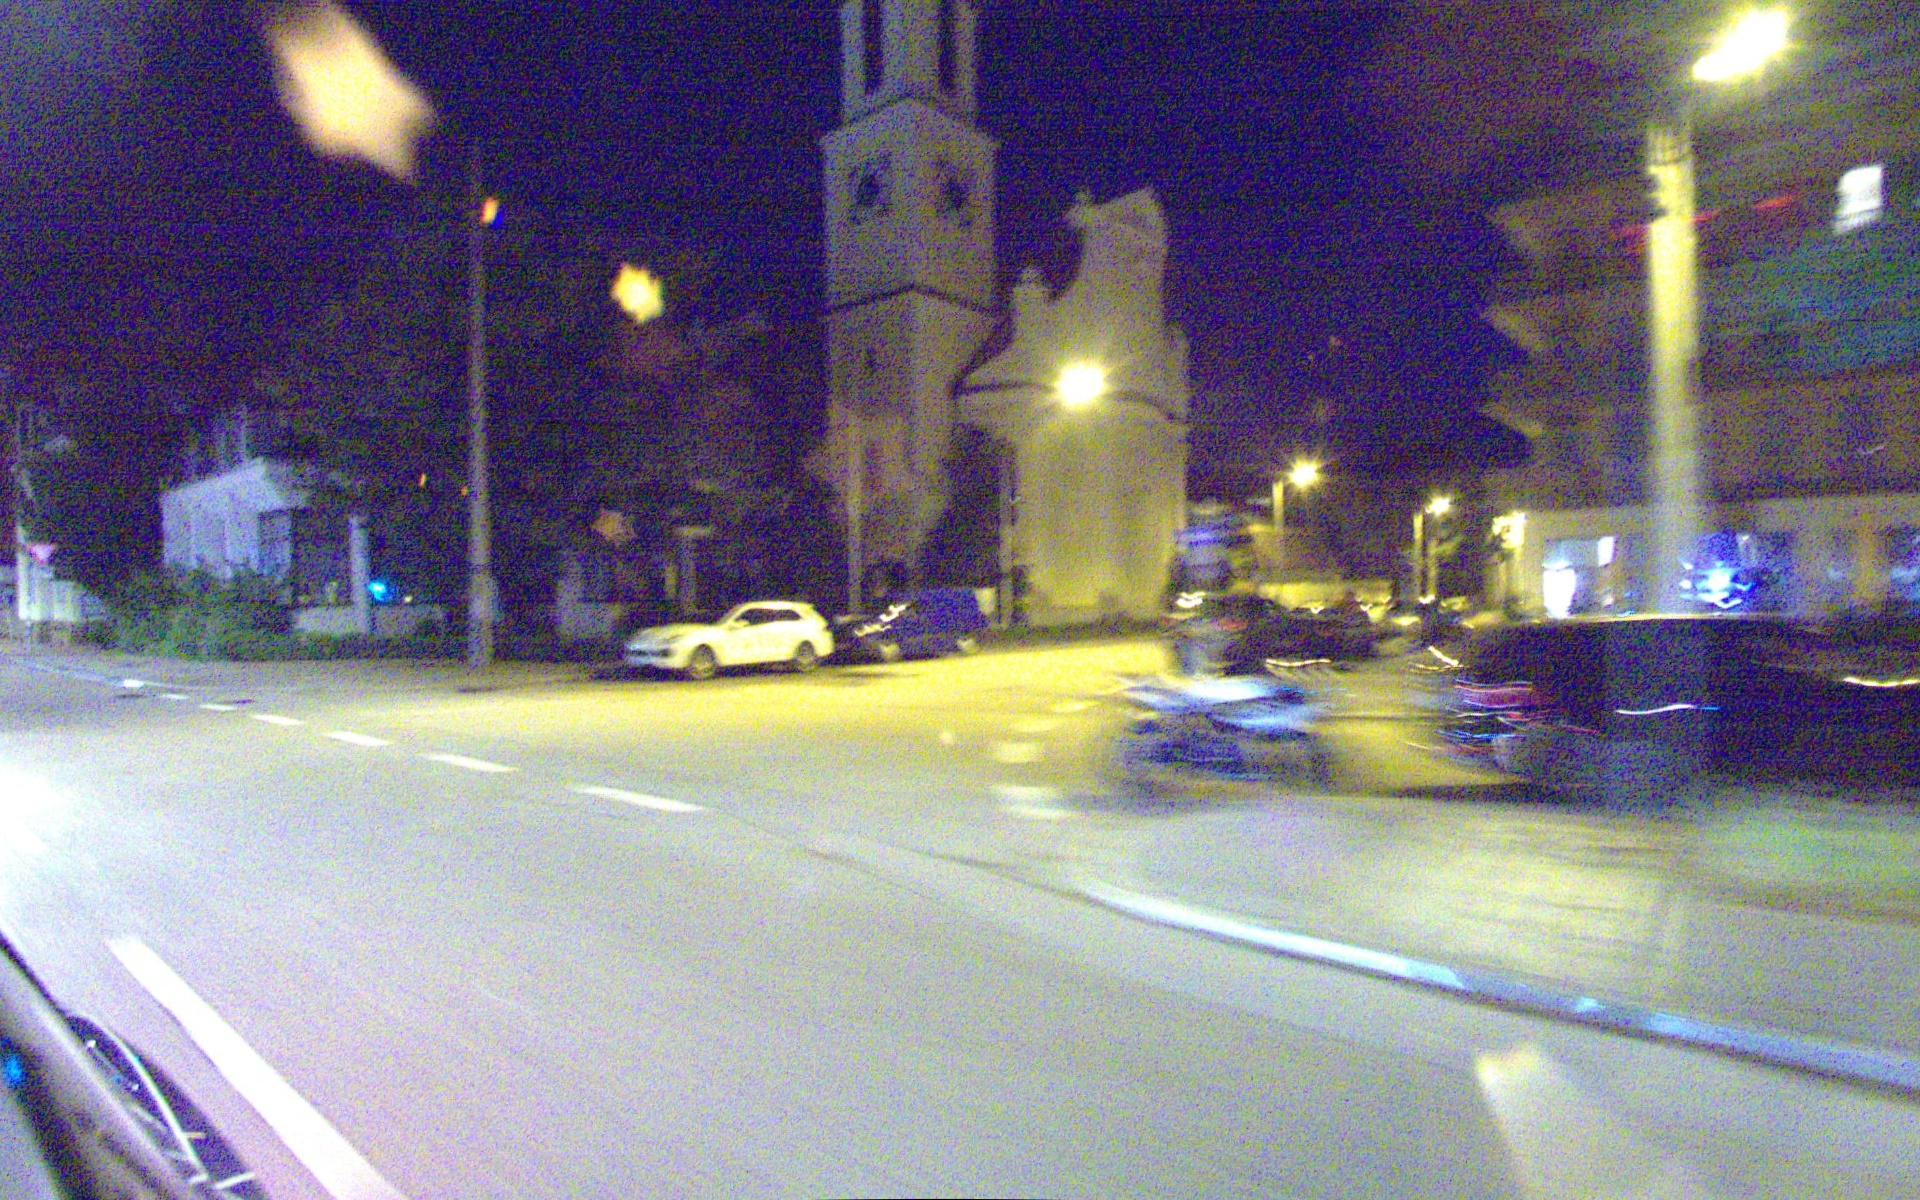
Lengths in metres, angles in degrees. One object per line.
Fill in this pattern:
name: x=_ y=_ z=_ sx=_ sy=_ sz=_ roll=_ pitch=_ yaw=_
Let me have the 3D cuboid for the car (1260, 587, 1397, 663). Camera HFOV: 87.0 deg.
car: x=10.028 y=0.596 z=27.352 sx=1.961 sy=1.767 sz=4.292 roll=4 pitch=3 yaw=42

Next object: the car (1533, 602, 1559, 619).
car: x=55.088 y=0.992 z=95.120 sx=1.606 sy=1.506 sz=3.457 roll=0 pitch=0 yaw=39

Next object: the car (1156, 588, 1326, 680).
car: x=6.416 y=0.665 z=22.844 sx=1.957 sy=1.767 sz=4.292 roll=2 pitch=2 yaw=43

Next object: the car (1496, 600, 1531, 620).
car: x=45.608 y=0.828 z=83.348 sx=1.899 sy=1.559 sz=3.743 roll=0 pitch=0 yaw=39

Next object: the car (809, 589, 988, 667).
car: x=-1.544 y=0.707 z=27.316 sx=2.026 sy=1.904 sz=4.938 roll=-2 pitch=-1 yaw=39

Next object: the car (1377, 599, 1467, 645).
car: x=15.771 y=0.720 z=34.460 sx=1.921 sy=1.467 sz=4.159 roll=0 pitch=0 yaw=38

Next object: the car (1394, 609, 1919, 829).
car: x=5.996 y=0.791 z=7.605 sx=4.677 sy=1.435 sz=1.887 roll=0 pitch=-1 yaw=10

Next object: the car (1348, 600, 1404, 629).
car: x=23.412 y=0.801 z=56.904 sx=1.861 sy=1.549 sz=3.947 roll=0 pitch=0 yaw=39

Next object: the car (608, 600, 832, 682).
car: x=-5.216 y=0.828 z=22.535 sx=2.001 sy=1.641 sz=4.614 roll=0 pitch=0 yaw=39

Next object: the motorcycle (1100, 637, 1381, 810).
motorcycle: x=2.133 y=0.893 z=7.787 sx=2.020 sy=1.188 sz=0.569 roll=-1 pitch=-1 yaw=24

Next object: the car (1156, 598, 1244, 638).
car: x=9.724 y=0.714 z=40.785 sx=1.901 sy=1.517 sz=3.947 roll=-2 pitch=-1 yaw=39

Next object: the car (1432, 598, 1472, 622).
car: x=33.780 y=0.690 z=69.430 sx=1.695 sy=1.627 sz=3.642 roll=0 pitch=0 yaw=39
